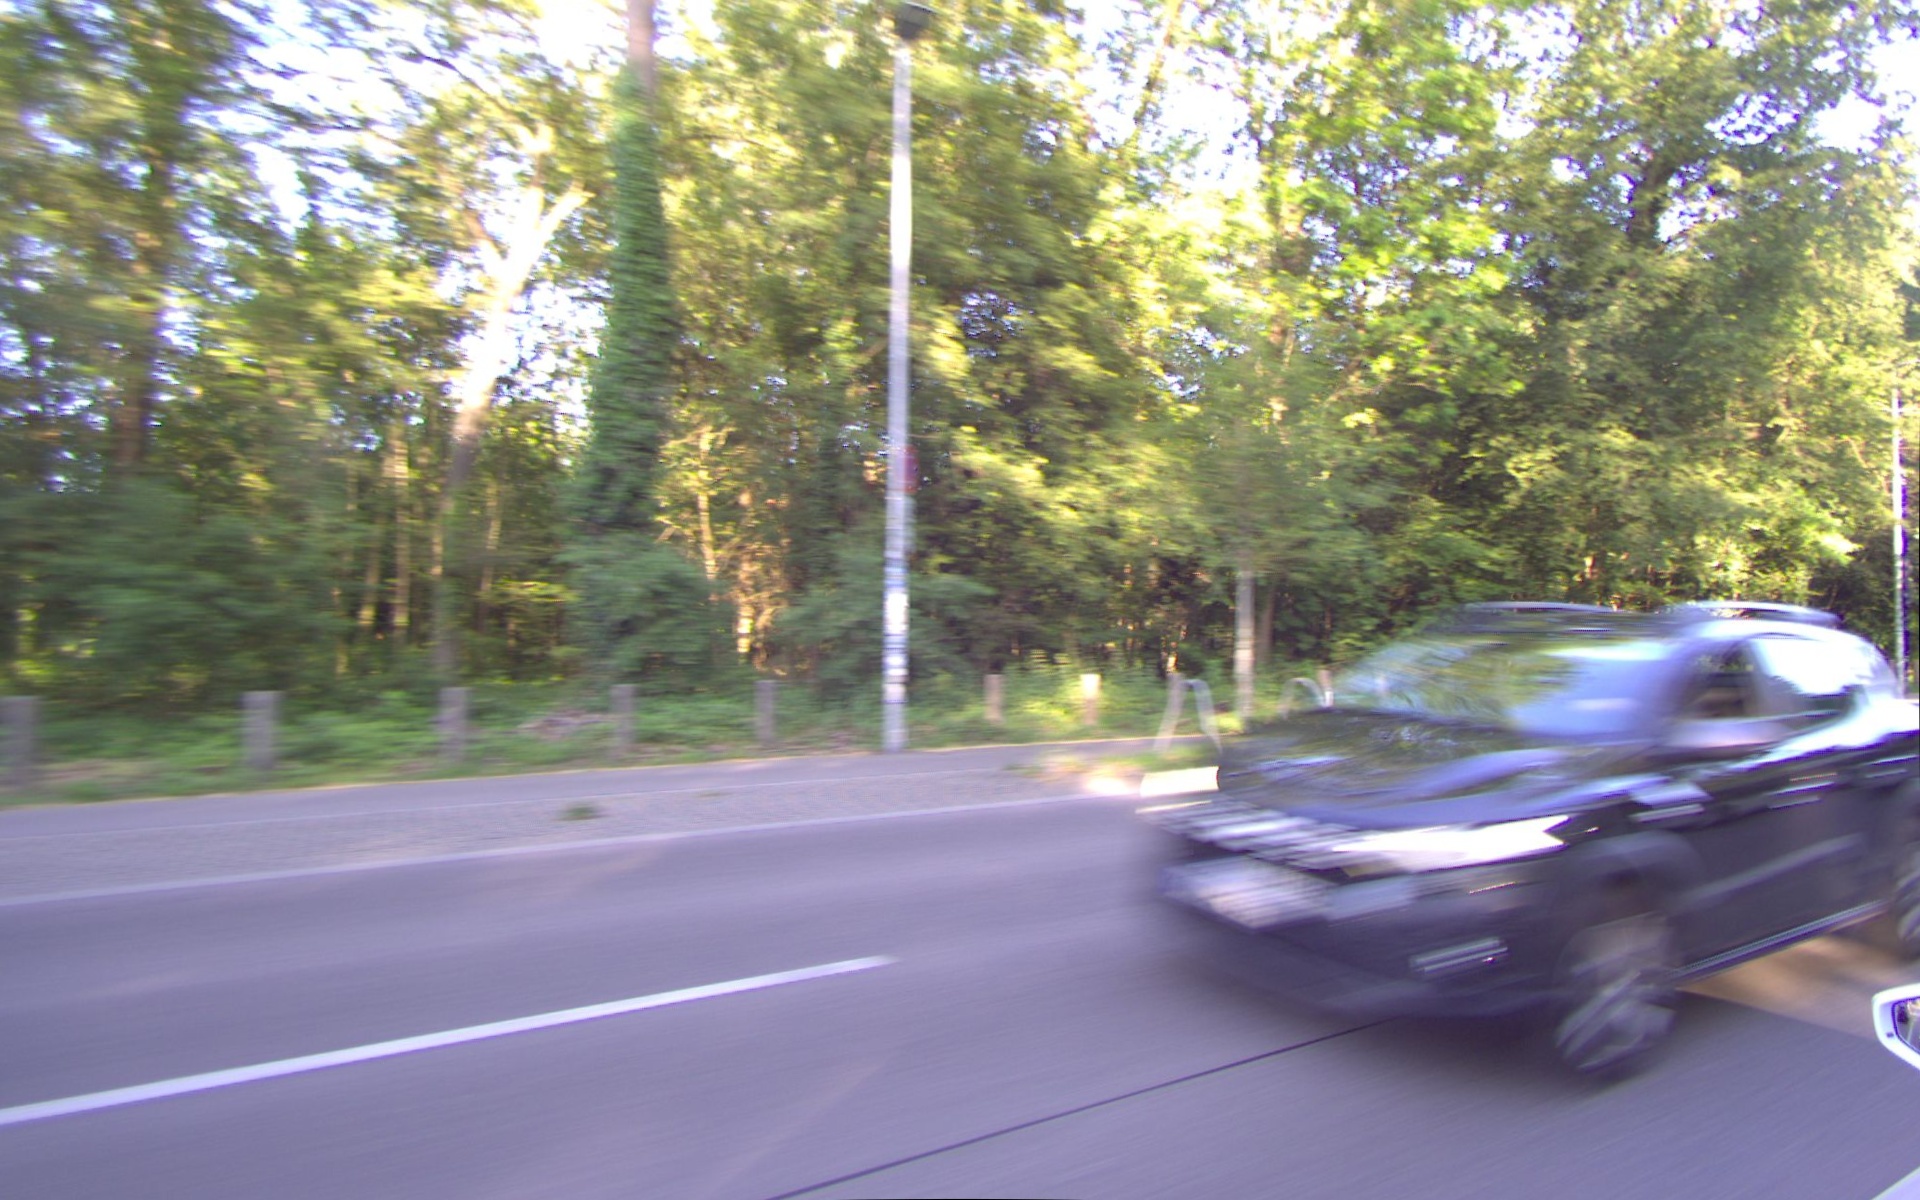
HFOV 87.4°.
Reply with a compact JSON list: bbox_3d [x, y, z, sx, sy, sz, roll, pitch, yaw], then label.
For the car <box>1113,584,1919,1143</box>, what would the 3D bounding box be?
[{"bbox_3d":[2.858,0.801,4.626,4.041,1.565,1.797,1,-2,-30],"label":"car"}]
